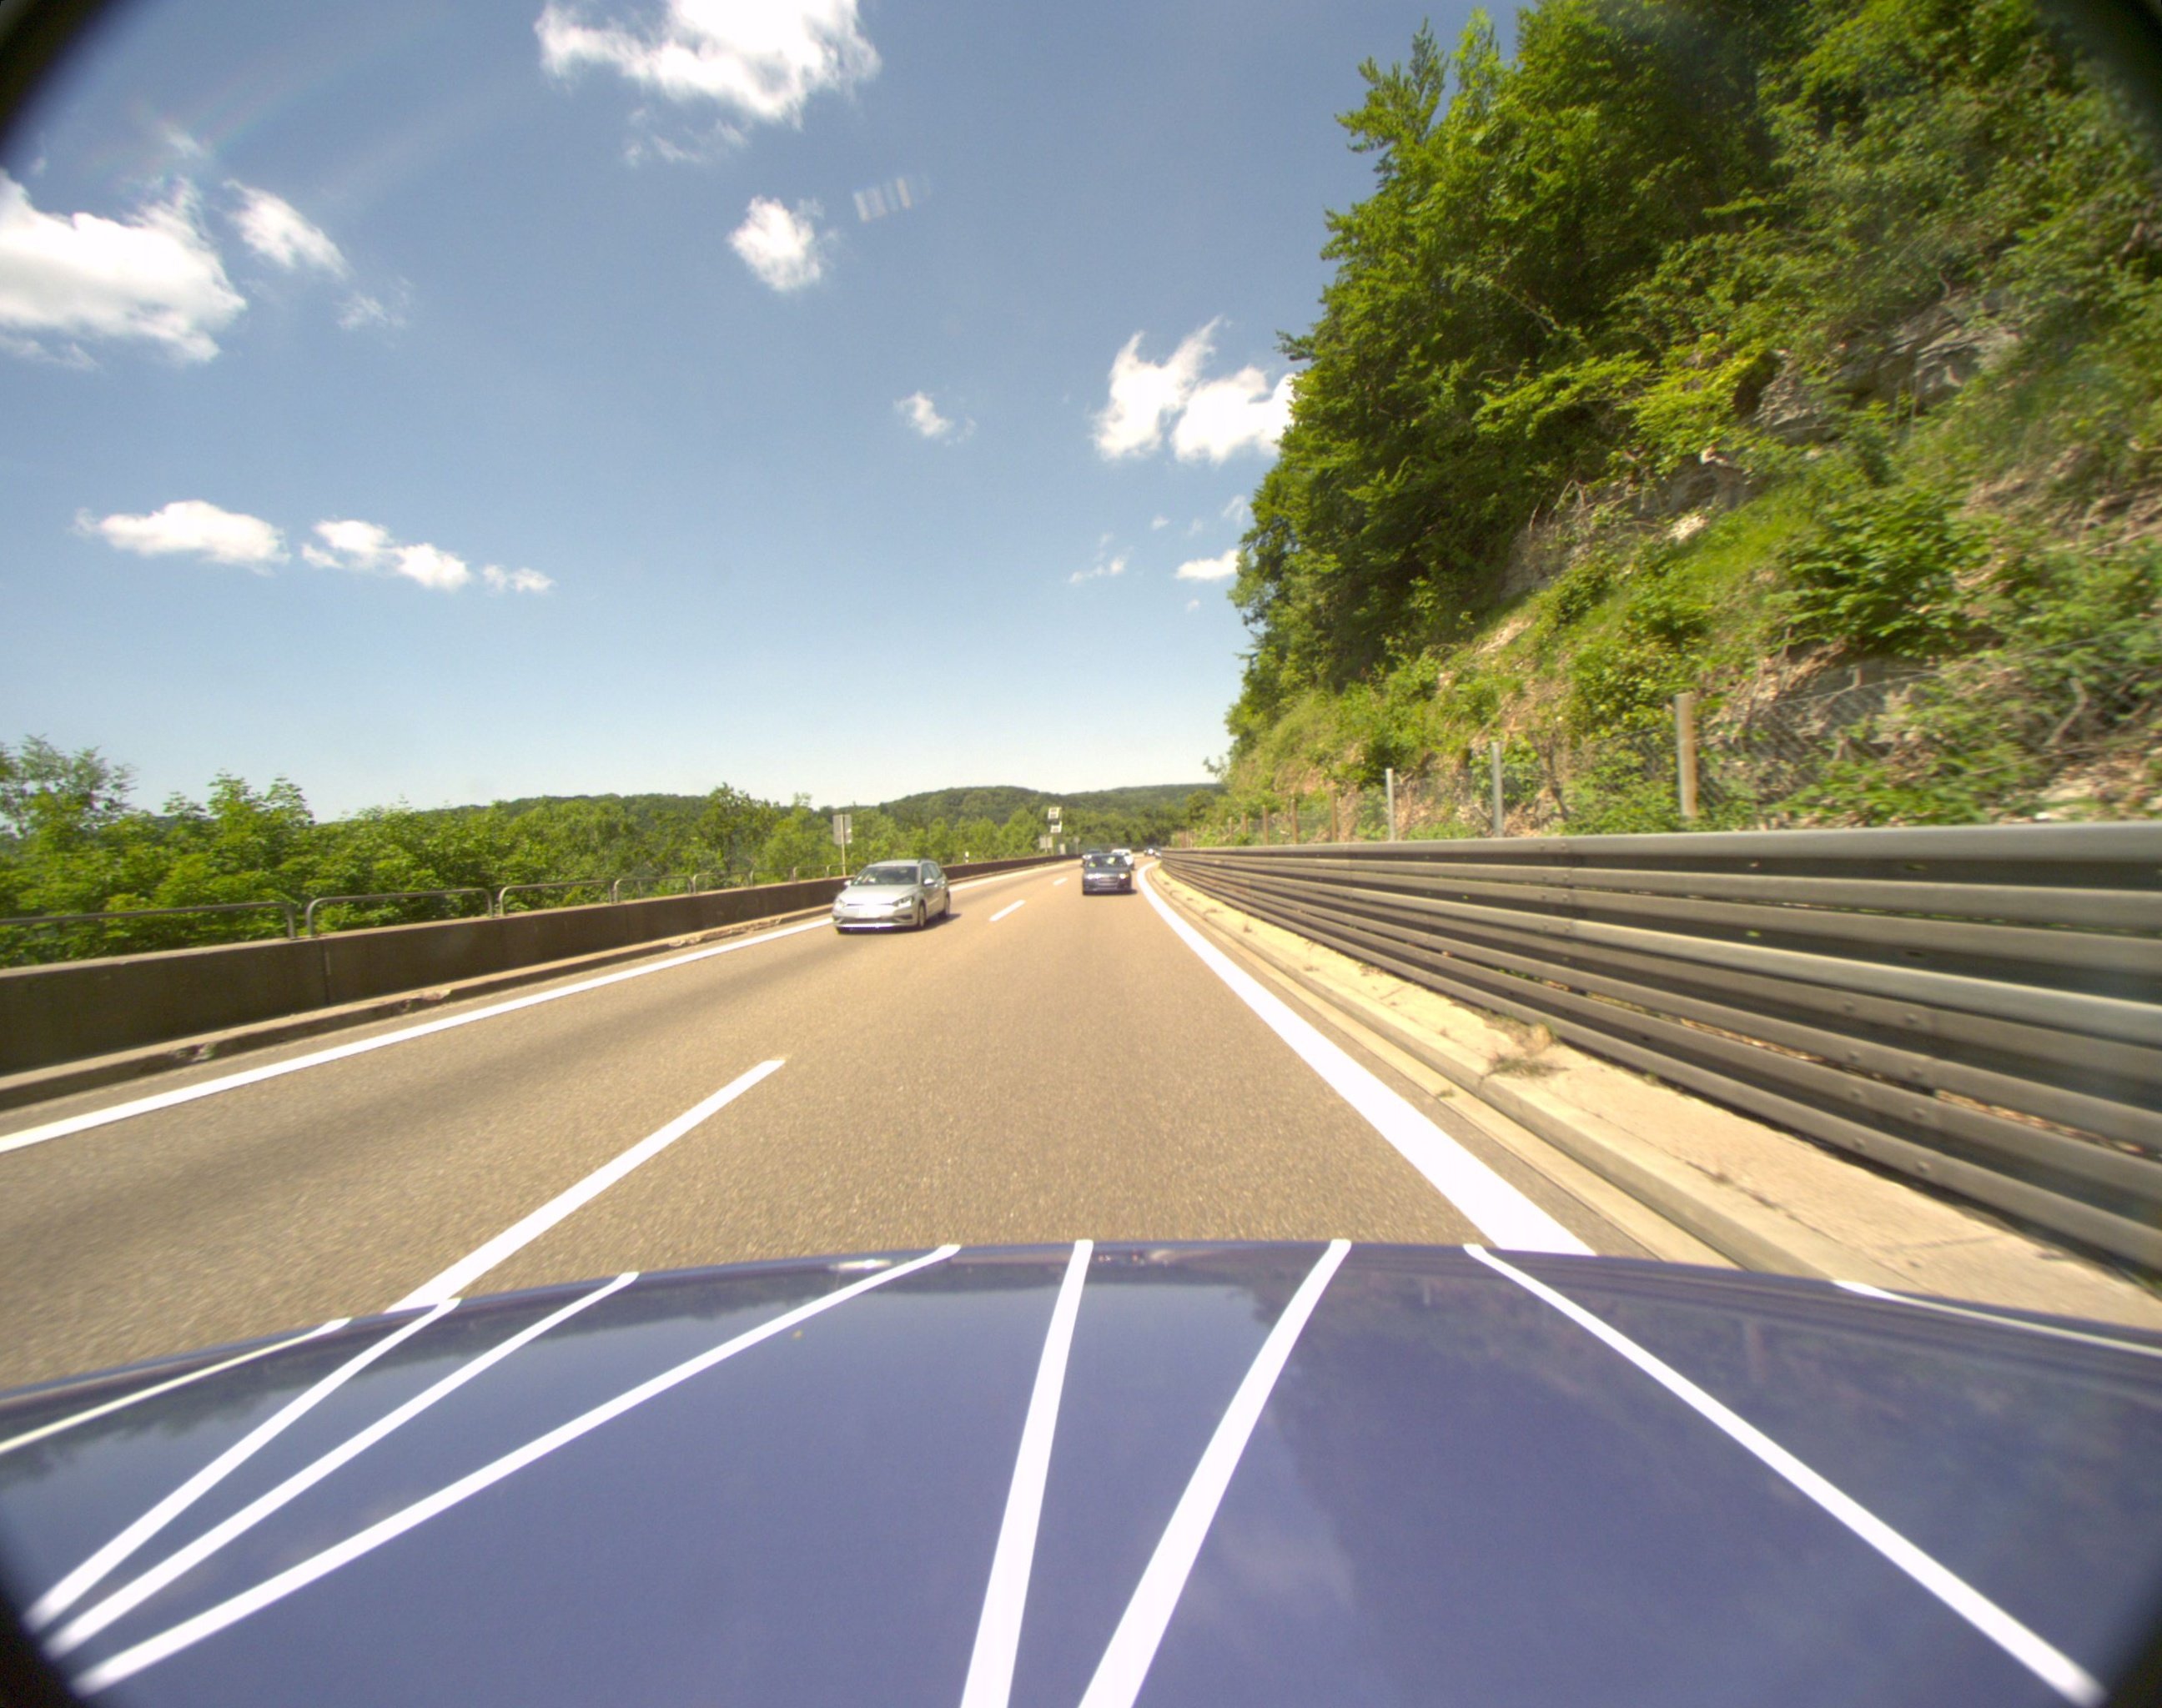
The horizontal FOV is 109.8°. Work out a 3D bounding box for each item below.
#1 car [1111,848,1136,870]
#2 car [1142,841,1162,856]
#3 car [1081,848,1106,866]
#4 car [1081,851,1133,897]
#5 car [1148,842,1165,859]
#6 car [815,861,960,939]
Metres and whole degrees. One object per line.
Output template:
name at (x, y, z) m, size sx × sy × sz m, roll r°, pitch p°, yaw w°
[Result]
car at (3.085, 0.324, 54.640) m, size 1.703 × 1.432 × 4.044 m, roll -1°, pitch 1°, yaw 4°
car at (10.576, -0.831, 113.058) m, size 1.996 × 2.002 × 4.005 m, roll -1°, pitch 1°, yaw 18°
car at (1.232, 0.232, 74.330) m, size 1.875 × 1.565 × 4.002 m, roll -4°, pitch 0°, yaw 7°
car at (0.994, 0.643, 27.073) m, size 1.668 × 1.415 × 4.044 m, roll -1°, pitch 1°, yaw 4°
car at (9.541, -0.454, 95.845) m, size 1.997 × 2.002 × 4.002 m, roll -2°, pitch 1°, yaw 8°
car at (-4.129, 0.919, 16.981) m, size 1.972 × 1.370 × 4.293 m, roll -1°, pitch 1°, yaw 2°
